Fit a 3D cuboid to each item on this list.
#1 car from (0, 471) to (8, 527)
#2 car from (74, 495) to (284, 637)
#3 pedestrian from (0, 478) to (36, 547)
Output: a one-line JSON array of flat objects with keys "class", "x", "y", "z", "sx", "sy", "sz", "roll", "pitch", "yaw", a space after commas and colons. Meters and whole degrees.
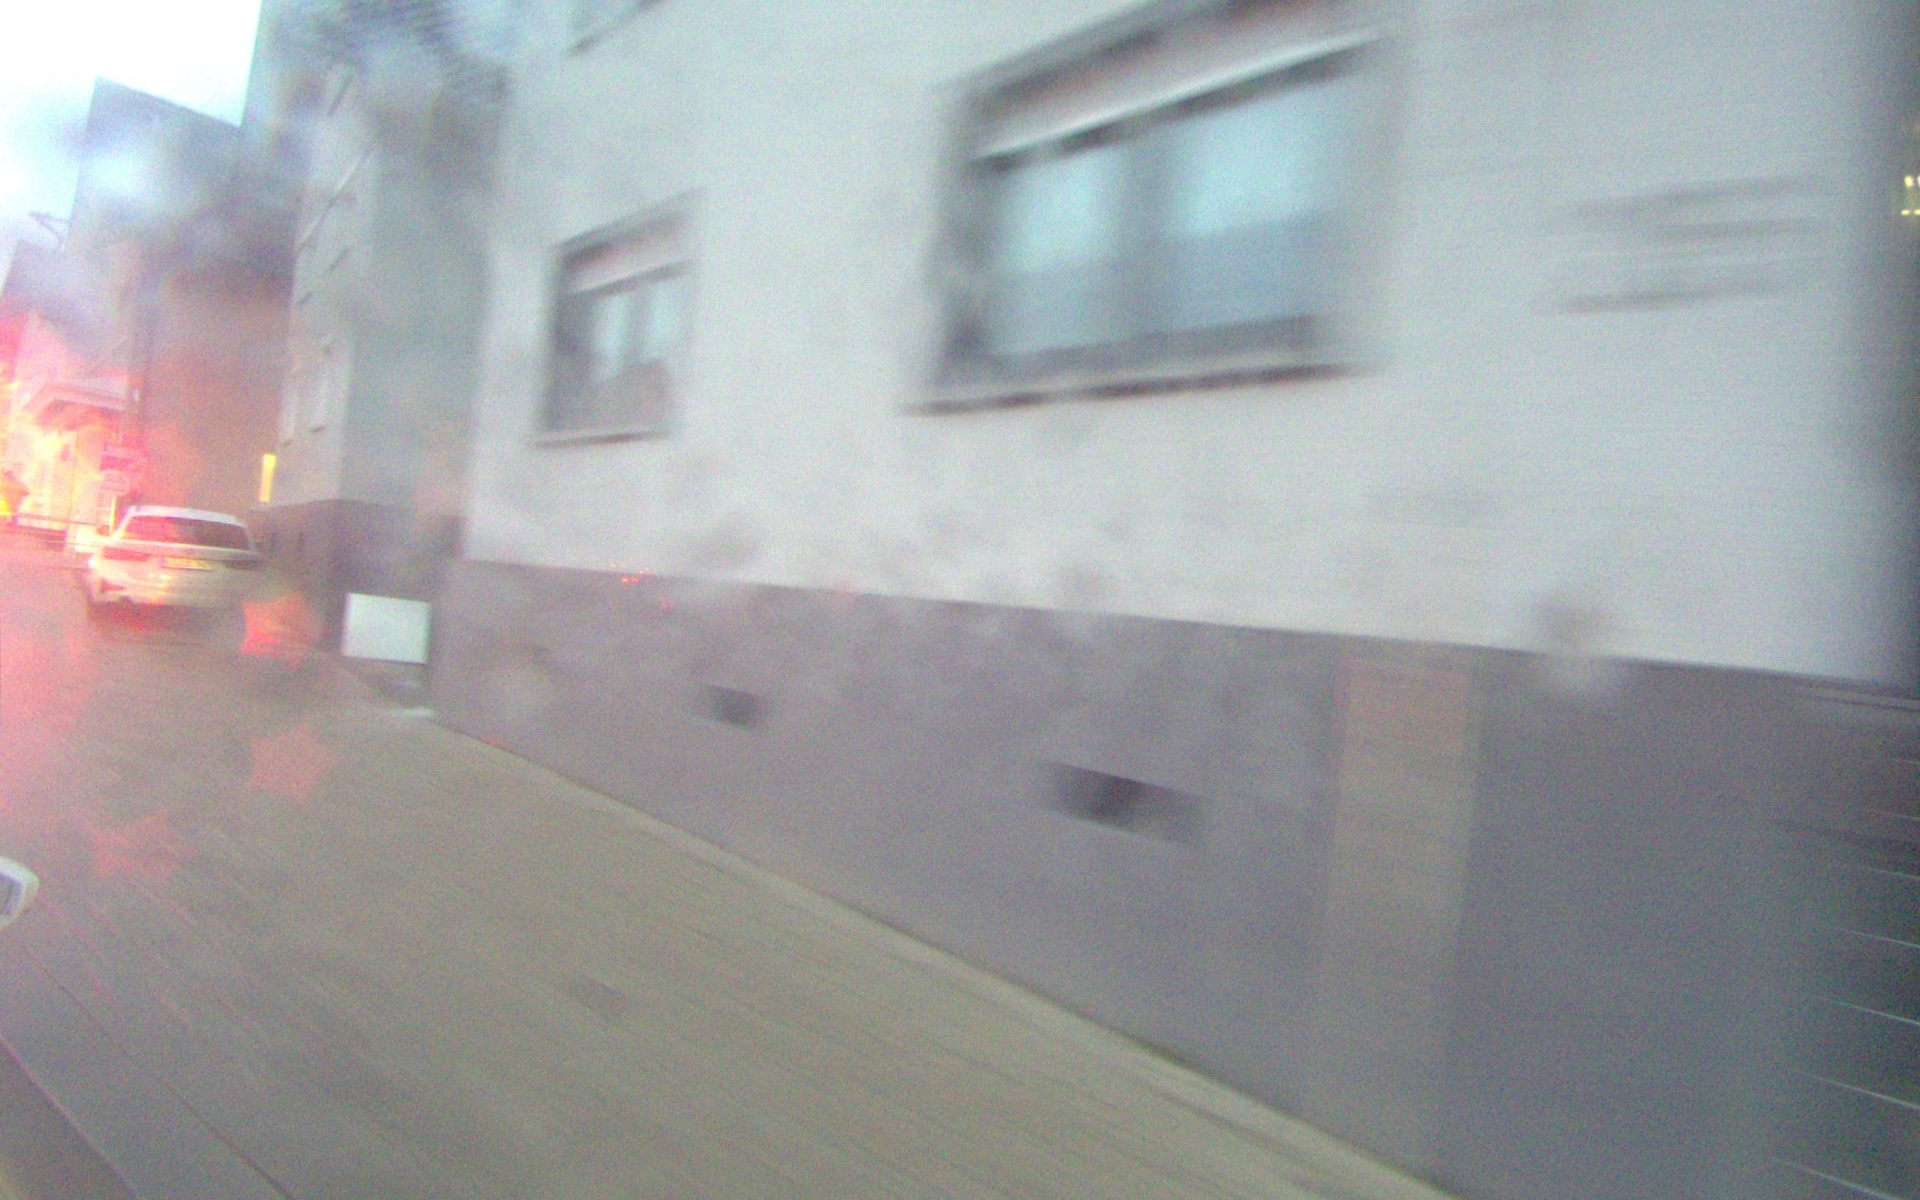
[{"class": "car", "x": -36.635, "y": -3.920, "z": 35.865, "sx": 1.667, "sy": 2.037, "sz": 3.691, "roll": 6, "pitch": -3, "yaw": 44}, {"class": "car", "x": -10.610, "y": -0.523, "z": 13.647, "sx": 1.875, "sy": 1.485, "sz": 4.492, "roll": 6, "pitch": 1, "yaw": -40}, {"class": "pedestrian", "x": -27.846, "y": -2.580, "z": 29.573, "sx": 0.607, "sy": 1.898, "sz": 0.704, "roll": 8, "pitch": -1, "yaw": 33}]
